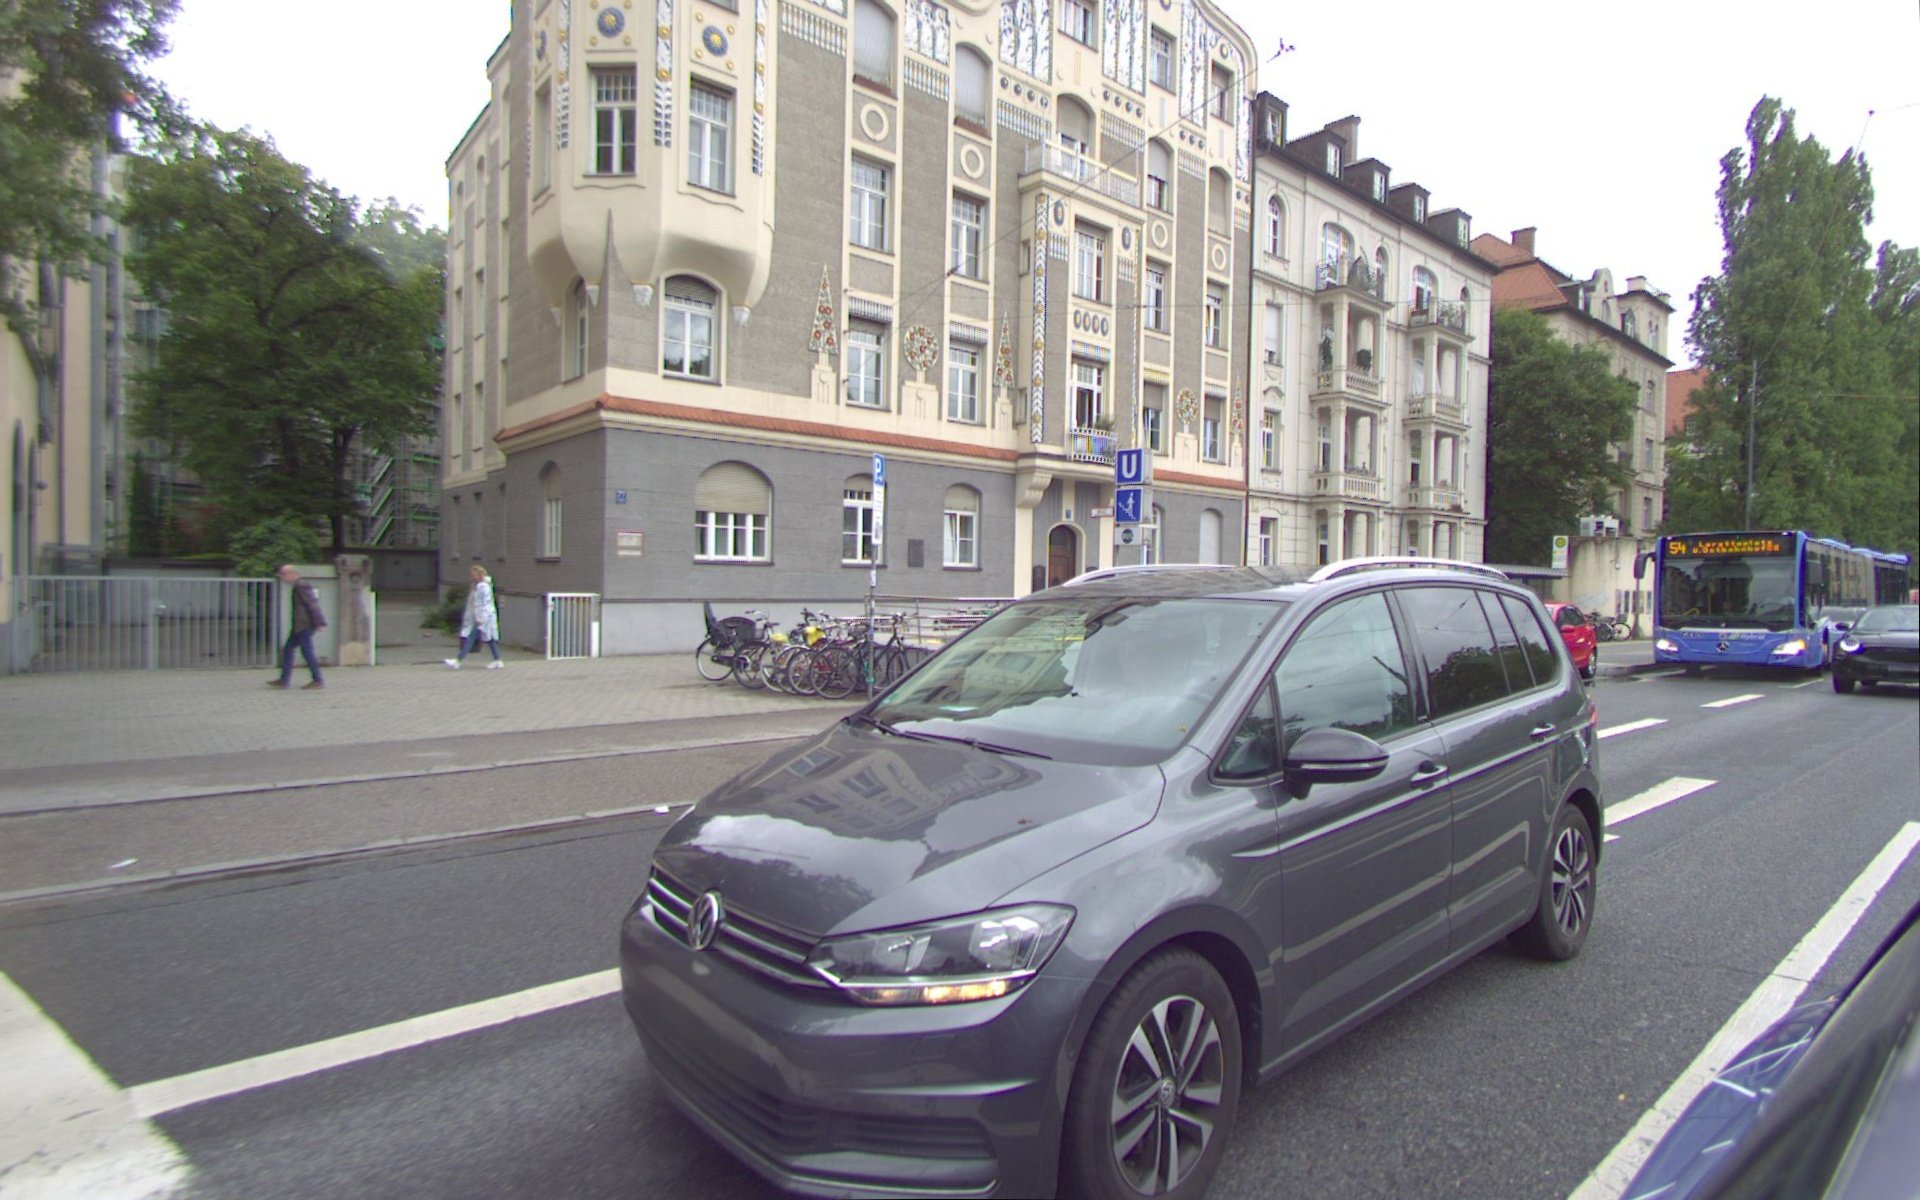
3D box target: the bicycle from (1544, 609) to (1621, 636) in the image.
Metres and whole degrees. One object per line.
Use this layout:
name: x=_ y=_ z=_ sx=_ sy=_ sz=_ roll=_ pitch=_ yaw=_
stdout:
bicycle: x=22.723 y=0.808 z=36.984 sx=0.590 sy=0.933 sz=2.319 roll=0 pitch=0 yaw=-43

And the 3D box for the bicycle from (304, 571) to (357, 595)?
bicycle: x=-30.686 y=-0.821 z=49.365 sx=2.090 sy=1.138 sz=0.816 roll=0 pitch=2 yaw=-41

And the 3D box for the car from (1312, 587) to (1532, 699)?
car: x=7.655 y=0.615 z=16.625 sx=3.895 sy=1.596 sz=1.730 roll=0 pitch=2 yaw=-39

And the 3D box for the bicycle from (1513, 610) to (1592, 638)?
bicycle: x=20.680 y=0.820 z=35.341 sx=0.590 sy=0.933 sz=2.319 roll=0 pitch=0 yaw=-43

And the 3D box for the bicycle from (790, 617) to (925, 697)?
bicycle: x=-1.417 y=0.765 z=13.961 sx=1.801 sy=1.036 sz=0.447 roll=0 pitch=1 yaw=-14

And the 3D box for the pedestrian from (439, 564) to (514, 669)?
pedestrian: x=-8.259 y=0.263 z=17.280 sx=0.999 sy=1.735 sz=0.747 roll=0 pitch=1 yaw=-40

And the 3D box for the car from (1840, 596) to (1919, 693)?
car: x=16.553 y=0.699 z=17.267 sx=3.901 sy=1.523 sz=1.778 roll=0 pitch=-1 yaw=-41

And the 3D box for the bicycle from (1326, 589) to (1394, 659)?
bicycle: x=7.771 y=0.438 z=19.643 sx=1.747 sy=1.304 sz=0.424 roll=0 pitch=1 yaw=-40

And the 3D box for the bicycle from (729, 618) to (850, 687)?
bicycle: x=-2.596 y=0.787 z=15.424 sx=1.801 sy=0.990 sz=0.393 roll=0 pitch=1 yaw=-14

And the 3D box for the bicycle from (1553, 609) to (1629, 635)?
bicycle: x=23.401 y=0.804 z=37.562 sx=0.590 sy=0.933 sz=2.319 roll=0 pitch=0 yaw=-43

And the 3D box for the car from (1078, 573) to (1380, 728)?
car: x=3.757 y=0.539 z=13.691 sx=4.425 sy=1.680 sz=1.736 roll=-1 pitch=5 yaw=-42

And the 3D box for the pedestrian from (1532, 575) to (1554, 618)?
pedestrian: x=26.529 y=-0.151 z=46.040 sx=0.661 sy=1.919 sz=0.609 roll=0 pitch=1 yaw=-39

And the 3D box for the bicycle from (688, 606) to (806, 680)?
bicycle: x=-3.488 y=0.693 z=16.601 sx=1.855 sy=1.169 sz=0.464 roll=0 pitch=0 yaw=8

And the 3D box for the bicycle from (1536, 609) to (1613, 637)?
bicycle: x=22.154 y=0.811 z=36.537 sx=0.590 sy=0.933 sz=2.319 roll=0 pitch=0 yaw=-43

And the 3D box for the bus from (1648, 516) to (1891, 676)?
bus: x=18.727 y=-0.075 z=23.115 sx=9.299 sy=3.012 sz=2.635 roll=0 pitch=-1 yaw=-41

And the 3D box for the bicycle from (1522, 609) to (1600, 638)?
bicycle: x=21.229 y=0.817 z=35.789 sx=0.590 sy=0.933 sz=2.319 roll=0 pitch=0 yaw=-43

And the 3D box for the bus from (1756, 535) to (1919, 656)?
bus: x=25.401 y=-0.117 z=28.884 sx=8.383 sy=3.012 sz=2.635 roll=0 pitch=-1 yaw=-41

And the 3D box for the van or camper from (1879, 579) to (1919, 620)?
van or camper: x=51.883 y=-0.045 z=55.140 sx=5.419 sy=2.125 sz=2.122 roll=0 pitch=1 yaw=-42

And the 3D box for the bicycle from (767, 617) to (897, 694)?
bicycle: x=-1.823 y=0.770 z=14.446 sx=1.801 sy=1.036 sz=0.447 roll=0 pitch=1 yaw=-14

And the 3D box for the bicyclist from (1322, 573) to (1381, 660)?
bicyclist: x=7.550 y=0.300 z=19.496 sx=0.923 sy=1.623 sz=0.681 roll=0 pitch=1 yaw=-40

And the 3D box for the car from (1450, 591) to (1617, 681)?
car: x=11.174 y=0.617 z=19.647 sx=3.678 sy=1.527 sz=1.729 roll=0 pitch=2 yaw=-42

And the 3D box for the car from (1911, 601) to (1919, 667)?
car: x=22.917 y=0.724 z=22.839 sx=4.171 sy=1.451 sz=1.702 roll=0 pitch=-1 yaw=-41

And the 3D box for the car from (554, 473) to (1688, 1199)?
car: x=1.070 y=0.575 z=3.958 sx=4.624 sy=1.667 sz=1.775 roll=0 pitch=2 yaw=-40

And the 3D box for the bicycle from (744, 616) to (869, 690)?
bicycle: x=-2.262 y=0.775 z=14.958 sx=1.801 sy=1.036 sz=0.393 roll=0 pitch=1 yaw=-14

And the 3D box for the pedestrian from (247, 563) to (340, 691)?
pedestrian: x=-9.323 y=0.346 z=14.156 sx=0.999 sy=1.706 sz=0.747 roll=0 pitch=1 yaw=-40

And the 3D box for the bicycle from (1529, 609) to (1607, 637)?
bicycle: x=21.686 y=0.814 z=36.148 sx=0.590 sy=0.933 sz=2.319 roll=0 pitch=0 yaw=-43
